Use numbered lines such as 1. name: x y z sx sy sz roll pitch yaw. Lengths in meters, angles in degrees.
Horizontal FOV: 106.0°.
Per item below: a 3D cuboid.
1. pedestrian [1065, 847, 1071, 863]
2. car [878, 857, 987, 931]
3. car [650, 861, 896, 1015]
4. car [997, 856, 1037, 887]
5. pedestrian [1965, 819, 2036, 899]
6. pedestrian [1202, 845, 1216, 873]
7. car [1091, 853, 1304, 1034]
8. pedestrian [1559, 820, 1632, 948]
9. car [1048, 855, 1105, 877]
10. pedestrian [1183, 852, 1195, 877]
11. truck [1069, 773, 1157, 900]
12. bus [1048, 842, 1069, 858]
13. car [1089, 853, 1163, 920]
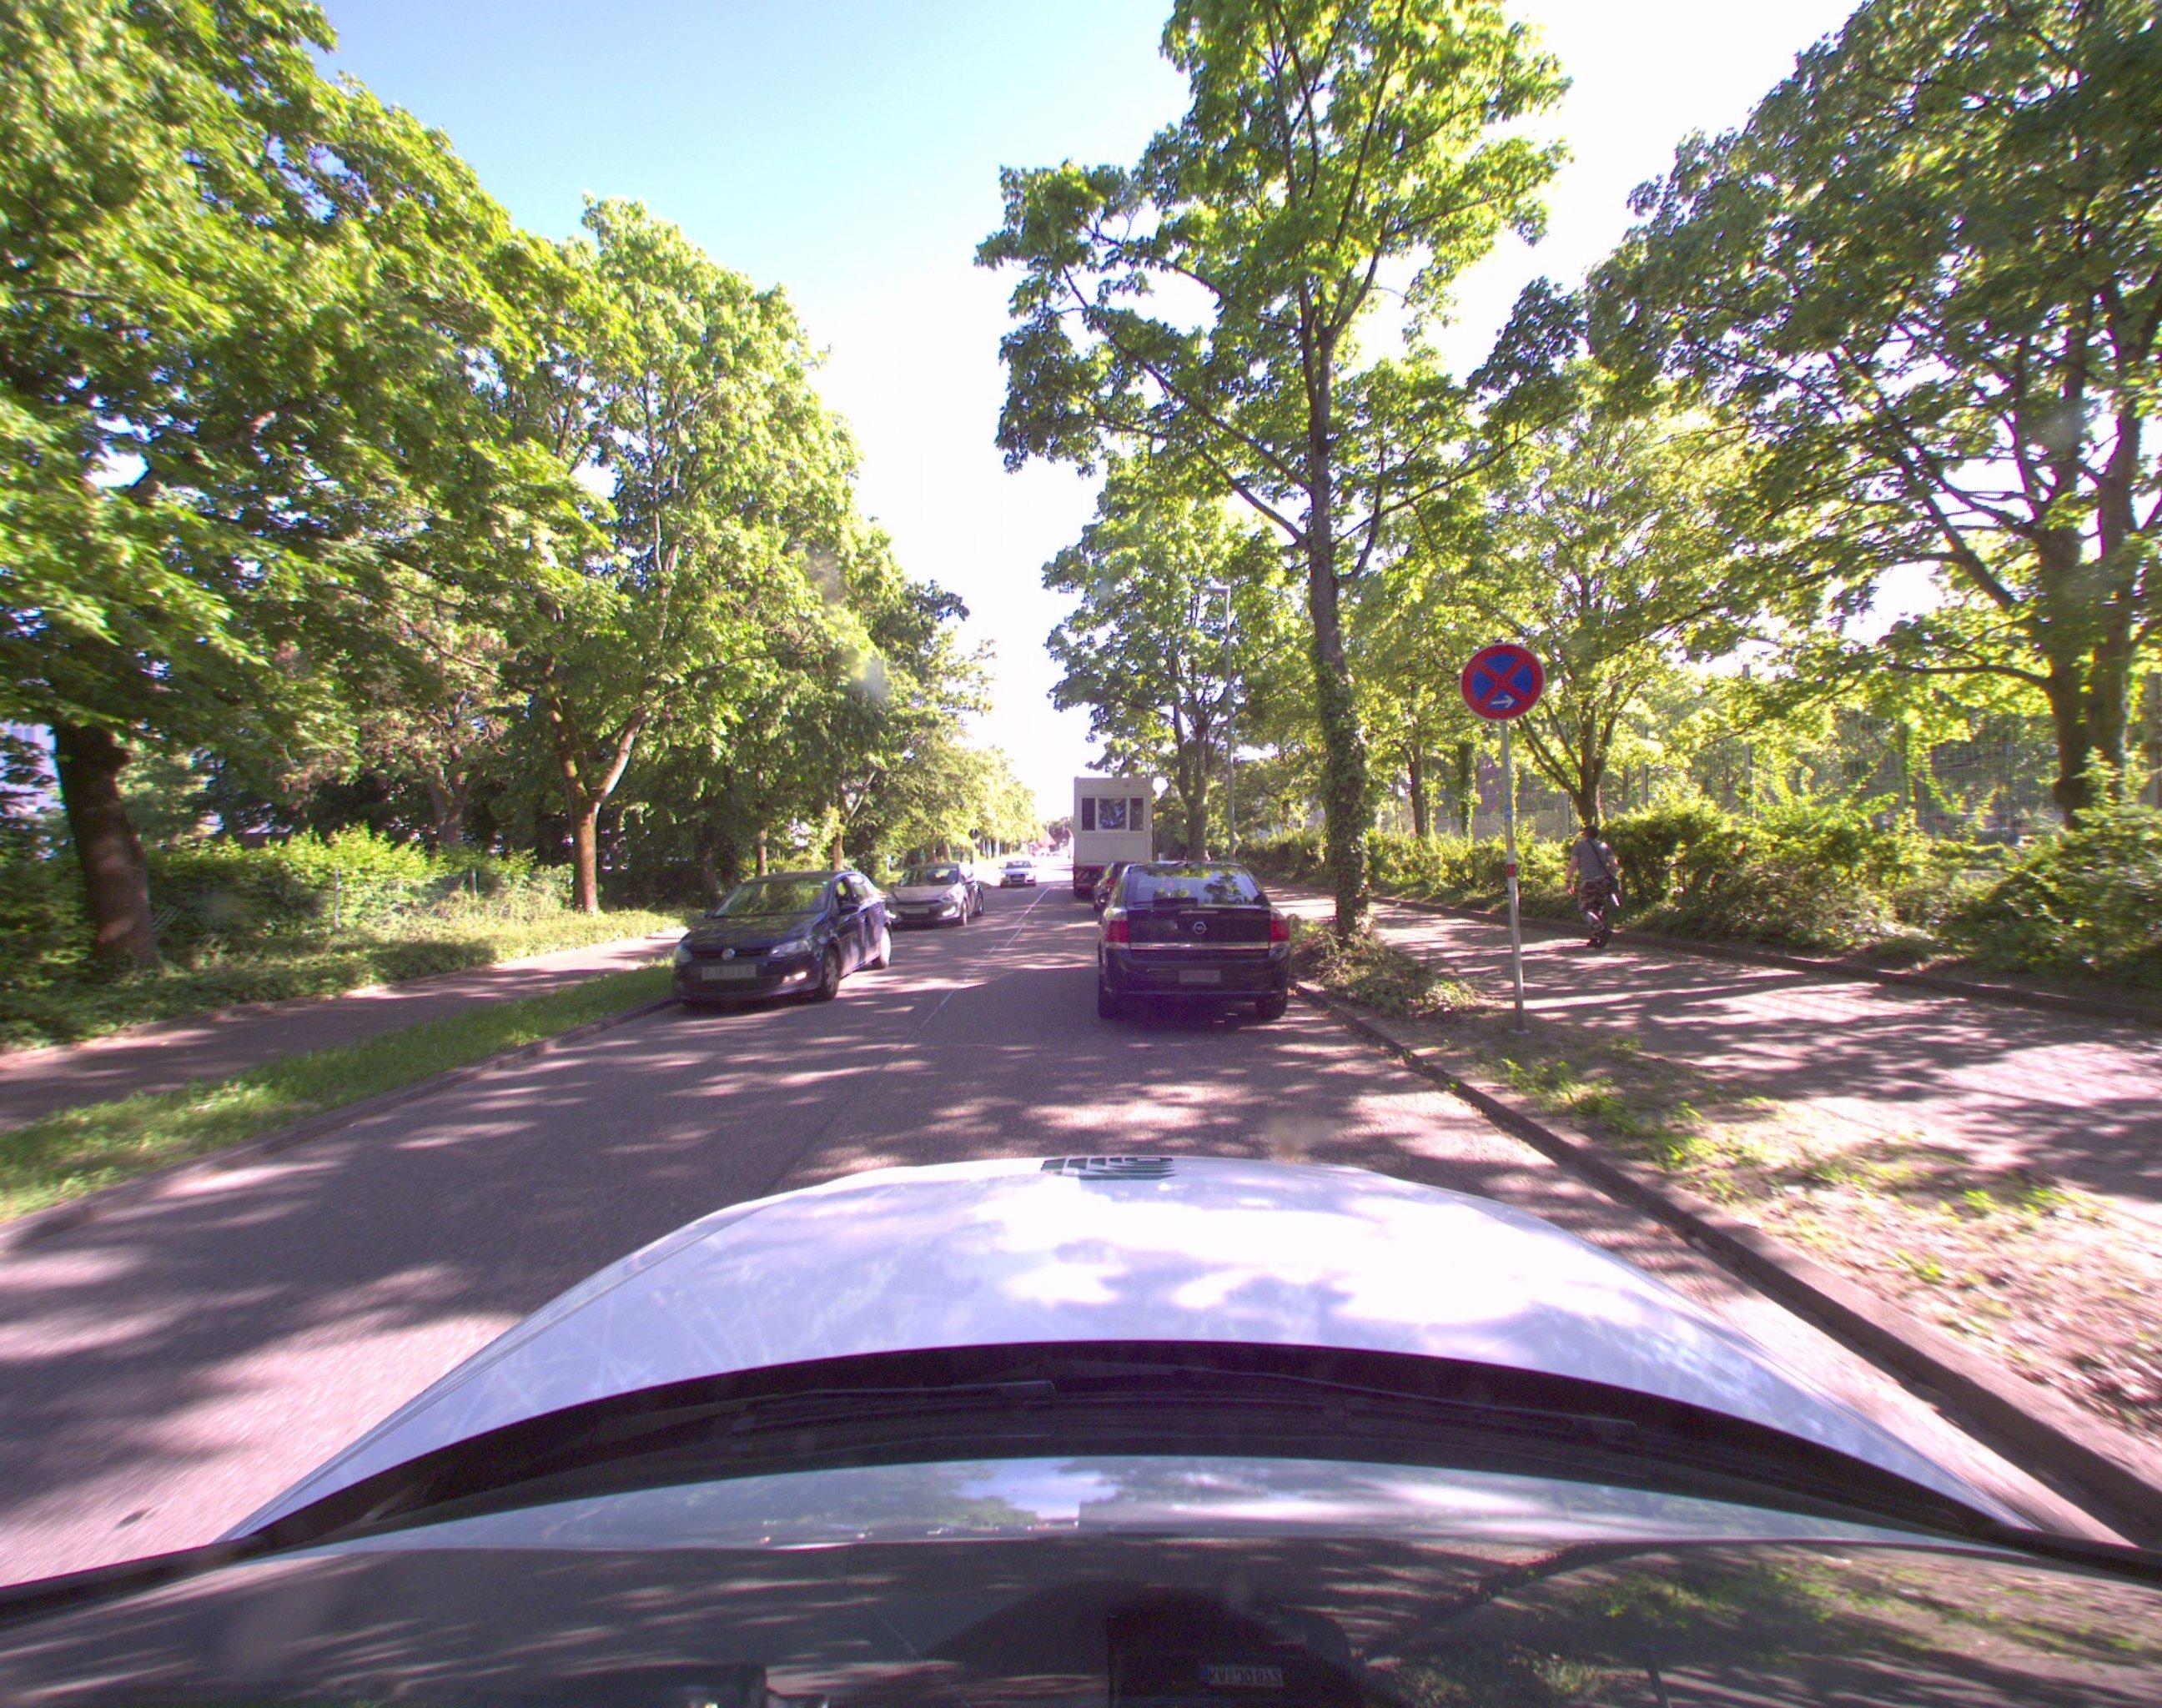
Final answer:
1. pedestrian: -1.812 0.084 110.009 0.749 2.113 0.799 1 0 2
2. car: -3.415 0.867 19.499 1.750 1.454 4.242 -3 0 0
3. car: -3.526 0.861 10.054 1.596 1.426 3.651 -3 0 0
4. car: -3.248 0.860 41.888 1.782 1.416 4.102 -3 0 -1
5. pedestrian: 14.606 0.071 12.954 0.556 1.240 0.548 0 0 20
6. pedestrian: 8.334 0.332 53.104 0.696 1.812 0.699 -2 0 -3
7. car: 1.018 0.750 8.730 1.742 1.480 4.032 0 0 2
8. pedestrian: 6.678 0.380 10.604 0.568 1.608 0.673 -1 0 9
9. car: -0.327 0.881 59.426 3.909 1.420 1.823 -3 0 42
10. pedestrian: 7.008 0.674 53.041 0.597 1.611 0.599 -2 0 -3
11. truck: 0.950 -0.577 30.890 2.764 3.996 10.344 0 0 -1
12. bus: -5.034 -0.963 185.766 4.049 3.349 9.806 -2 0 2
13. car: 1.114 0.745 20.698 1.634 1.420 4.002 -3 0 2
